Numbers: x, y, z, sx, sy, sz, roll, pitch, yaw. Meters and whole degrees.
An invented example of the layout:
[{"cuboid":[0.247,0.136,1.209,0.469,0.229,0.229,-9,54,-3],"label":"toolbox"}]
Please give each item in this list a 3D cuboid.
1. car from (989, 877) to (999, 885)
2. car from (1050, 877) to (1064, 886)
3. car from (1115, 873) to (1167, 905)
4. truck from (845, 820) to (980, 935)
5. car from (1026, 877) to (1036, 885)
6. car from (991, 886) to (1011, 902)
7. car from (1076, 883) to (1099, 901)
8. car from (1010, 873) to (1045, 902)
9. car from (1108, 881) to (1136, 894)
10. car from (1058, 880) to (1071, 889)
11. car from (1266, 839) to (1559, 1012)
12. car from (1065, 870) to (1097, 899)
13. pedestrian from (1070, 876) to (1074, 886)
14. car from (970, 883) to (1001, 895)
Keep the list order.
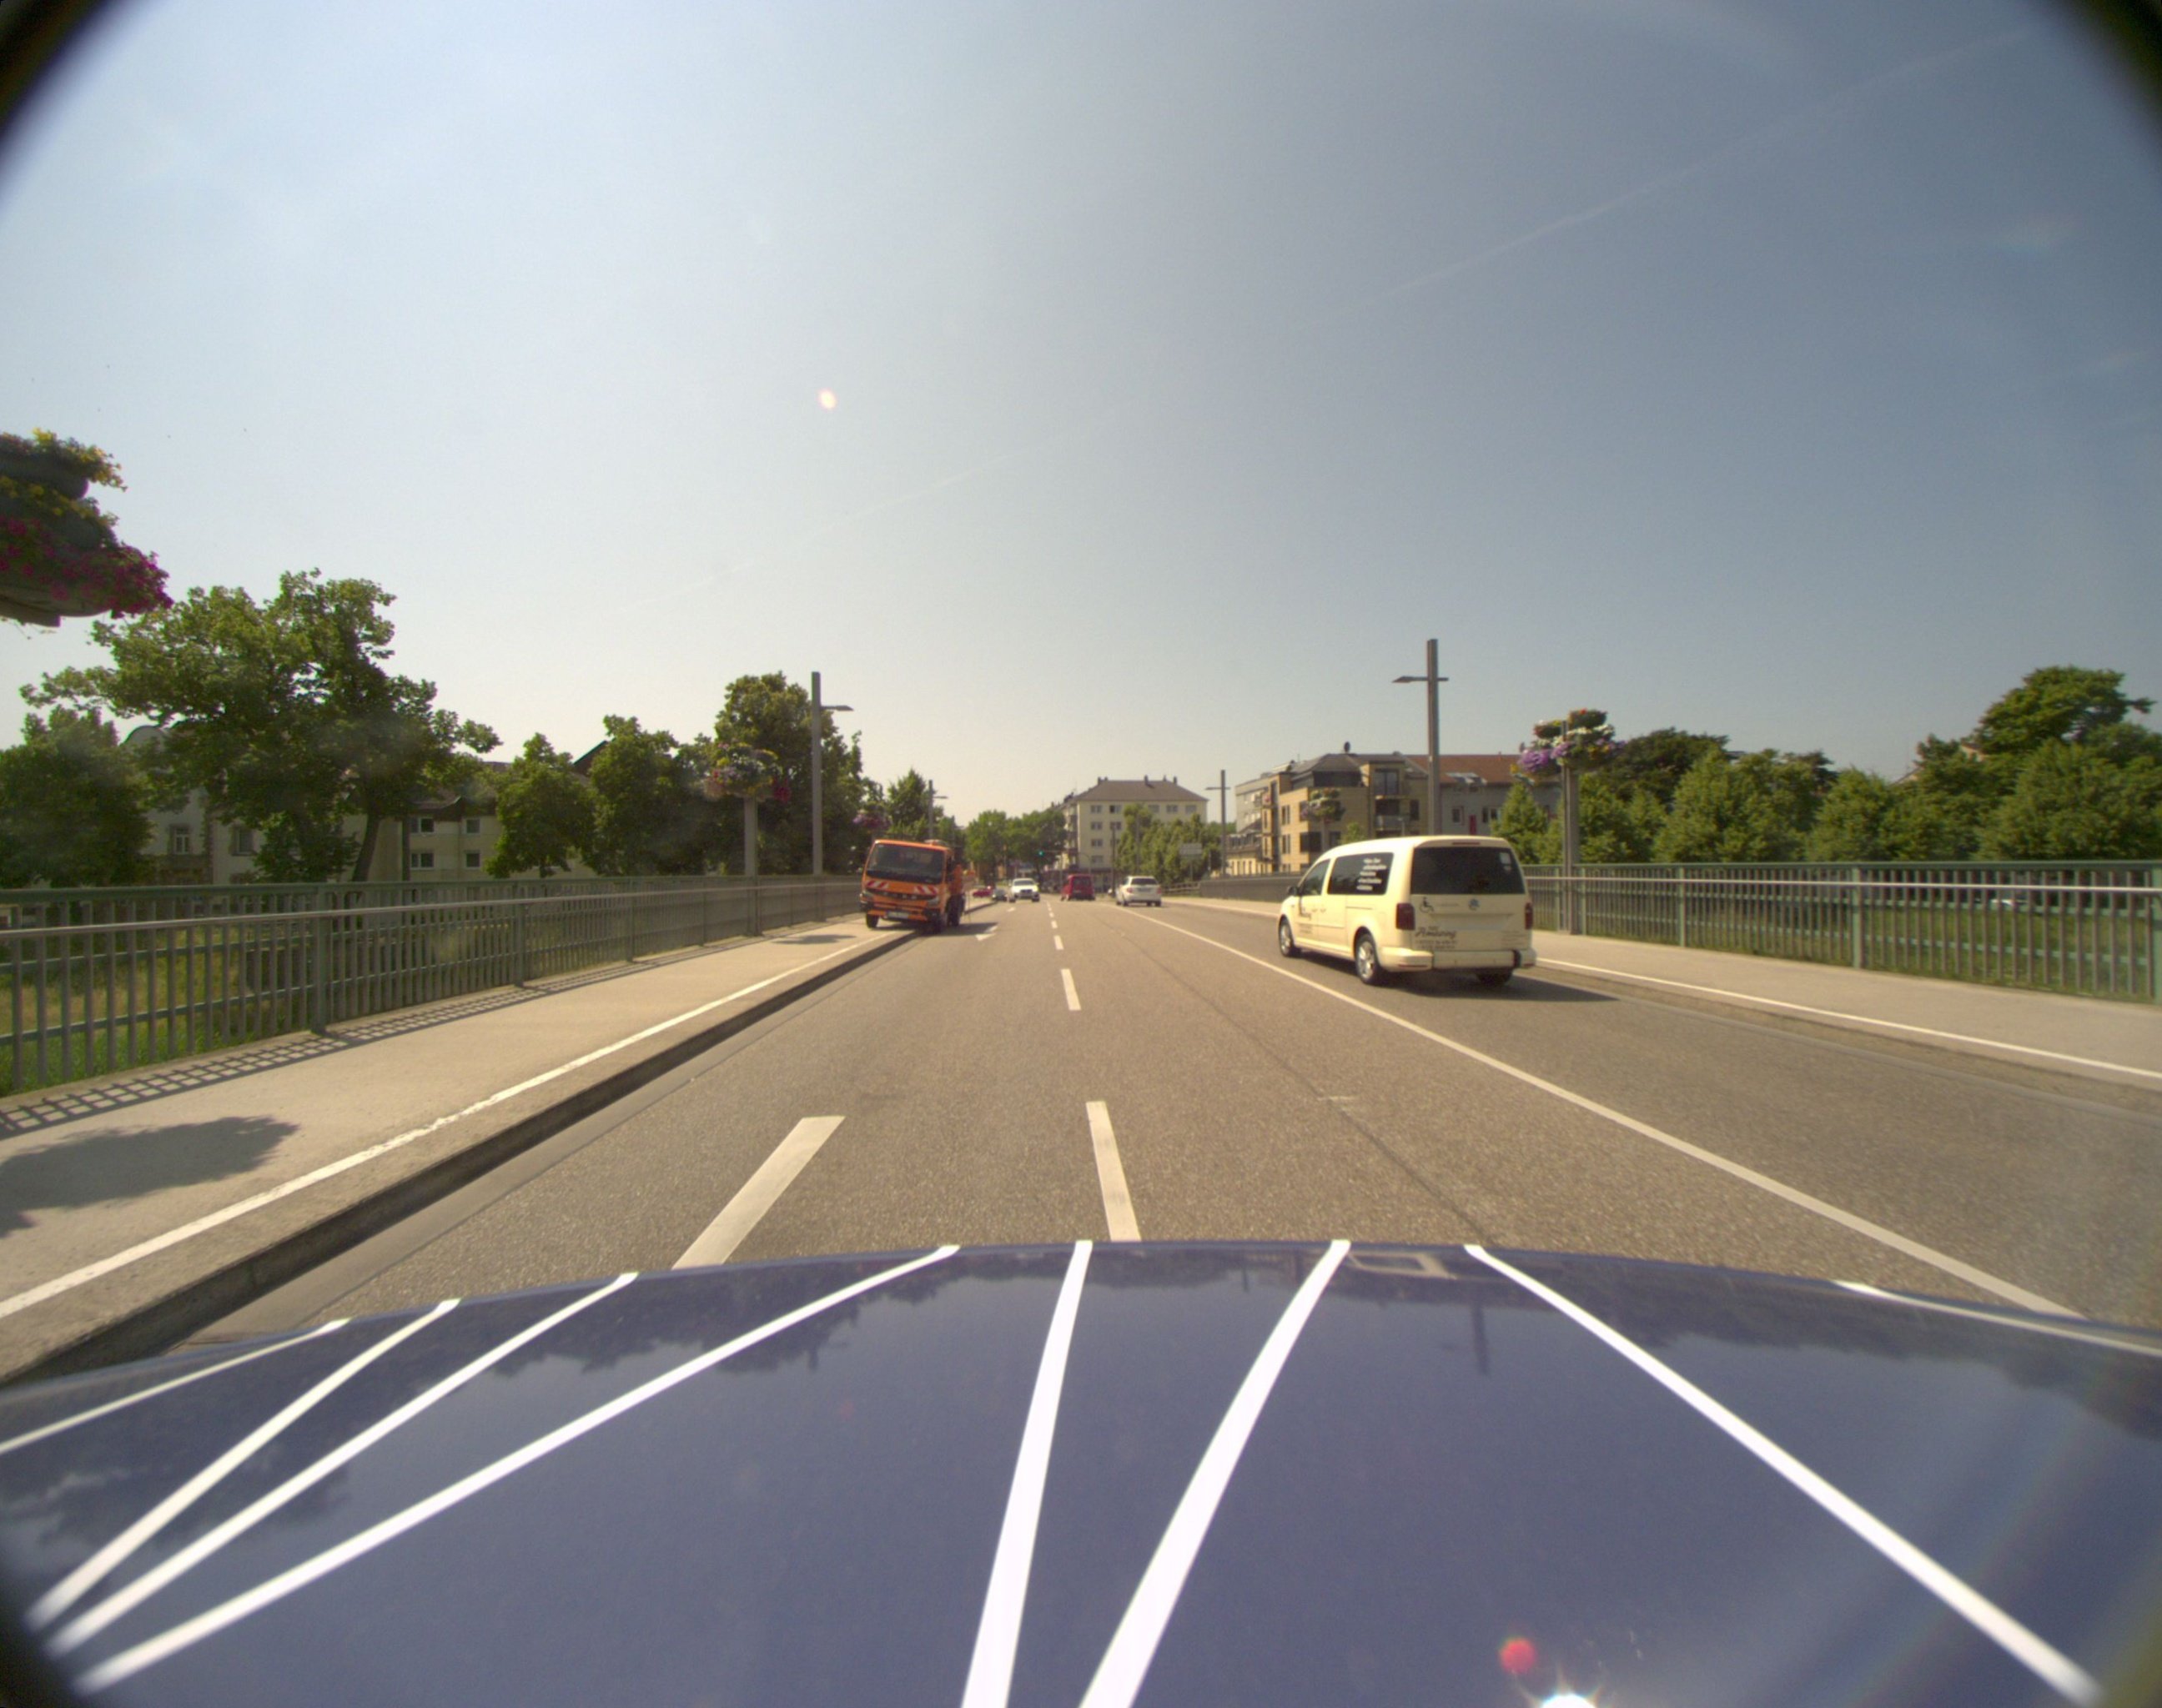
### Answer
[{"cuboid":[-18.650,5.795,162.330,1.720,1.476,4.028,-3,0,-10],"label":"car"},{"cuboid":[-4.350,4.986,137.466,1.627,1.559,4.835,-1,0,-11],"label":"car"},{"cuboid":[2.838,1.668,36.819,1.849,1.423,4.713,1,-2,-3],"label":"car"},{"cuboid":[-4.374,0.620,20.880,2.613,2.675,5.823,-1,-1,-2],"label":"truck"},{"cuboid":[-10.167,5.456,154.567,1.640,1.459,3.631,-1,-1,-10],"label":"car"},{"cuboid":[-8.893,4.418,84.085,1.778,1.480,3.995,-2,1,-13],"label":"car"},{"cuboid":[0.536,3.283,65.732,1.703,1.350,4.455,0,0,-4],"label":"car"},{"cuboid":[-3.703,2.271,51.989,2.000,1.739,4.443,-2,0,-8],"label":"car"},{"cuboid":[5.895,4.886,109.759,3.699,1.725,1.892,2,-1,-13],"label":"car"},{"cuboid":[-2.836,5.175,129.705,1.588,1.450,3.936,-1,0,-11],"label":"car"},{"cuboid":[4.138,0.787,10.475,1.764,1.846,4.645,0,0,-4],"label":"car"},{"cuboid":[-0.061,1.993,50.300,1.741,1.766,4.175,-1,0,-5],"label":"car"},{"cuboid":[-1.633,4.851,135.496,0.629,1.749,0.742,-1,0,-11],"label":"pedestrian"},{"cuboid":[-13.064,4.757,103.578,3.851,1.455,1.655,1,0,24],"label":"car"}]
